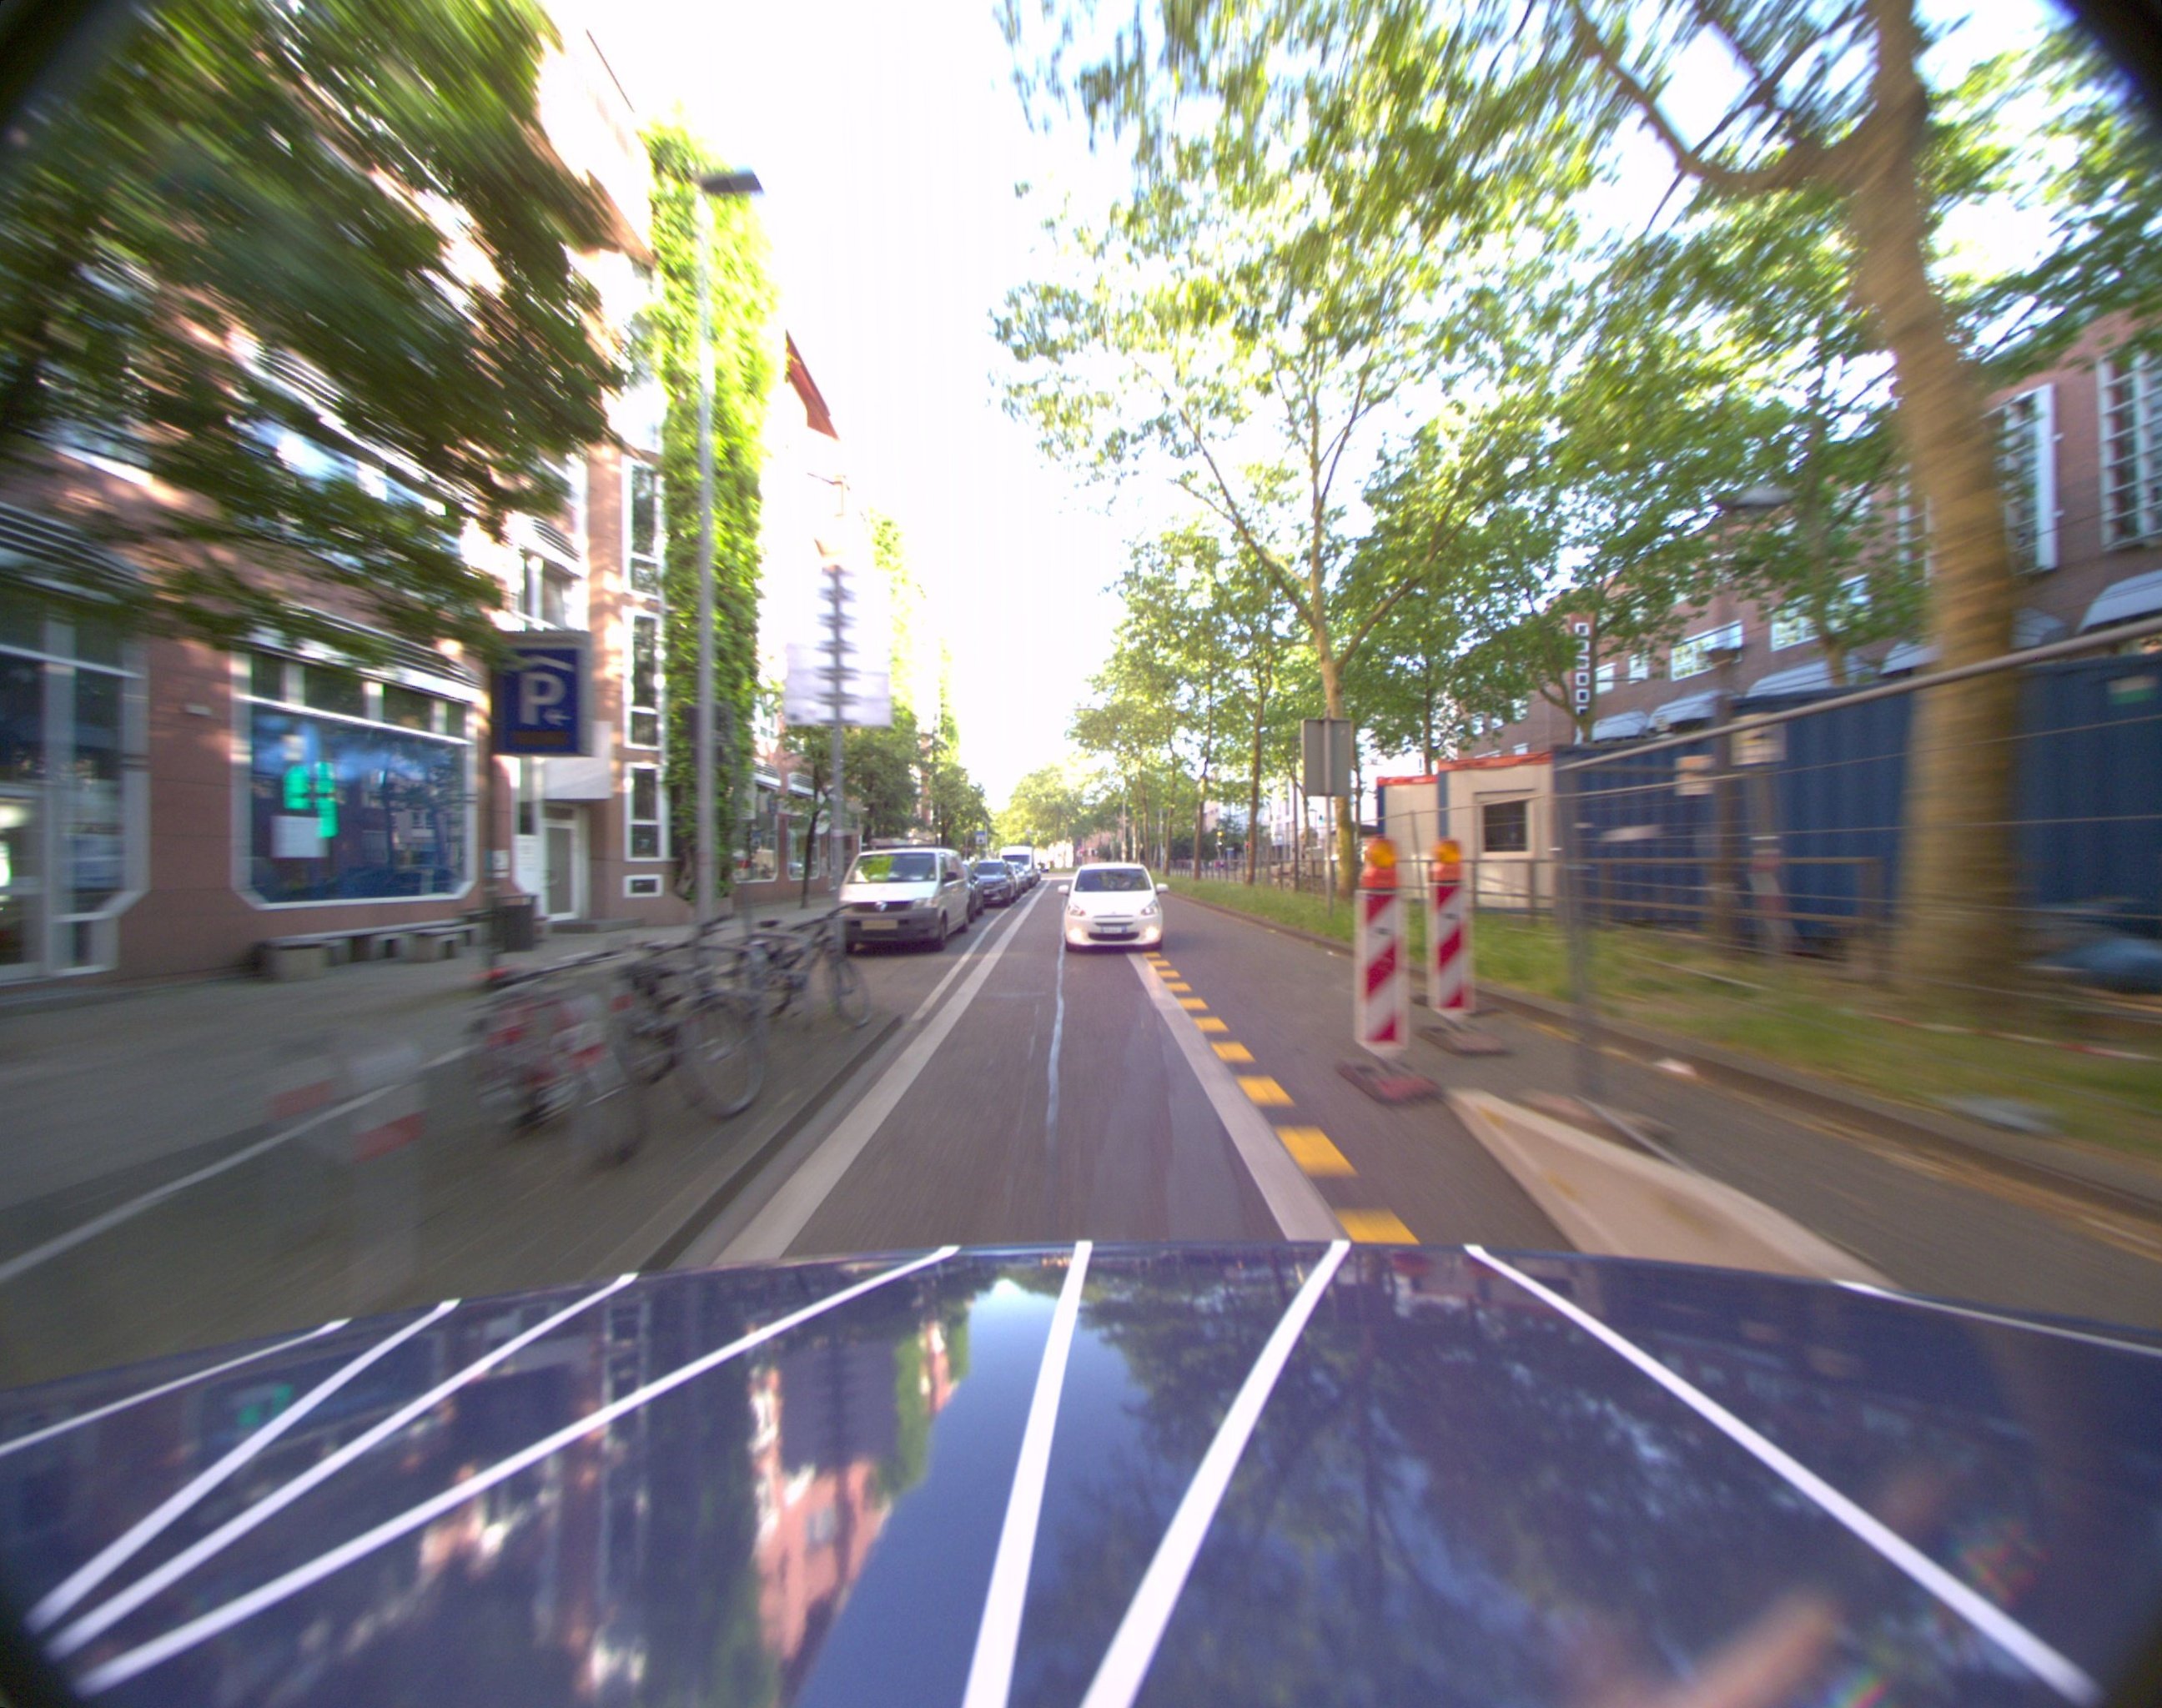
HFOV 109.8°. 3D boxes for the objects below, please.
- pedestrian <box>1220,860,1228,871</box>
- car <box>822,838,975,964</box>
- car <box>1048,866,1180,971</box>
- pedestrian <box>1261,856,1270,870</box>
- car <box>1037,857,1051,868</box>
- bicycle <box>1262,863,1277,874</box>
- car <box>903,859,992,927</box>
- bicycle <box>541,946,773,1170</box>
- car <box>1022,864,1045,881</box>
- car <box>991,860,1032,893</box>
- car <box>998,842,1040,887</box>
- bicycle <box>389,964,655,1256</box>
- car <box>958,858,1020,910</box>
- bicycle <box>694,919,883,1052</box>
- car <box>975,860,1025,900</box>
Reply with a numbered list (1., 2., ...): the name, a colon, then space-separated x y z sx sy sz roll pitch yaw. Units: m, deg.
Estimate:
1. pedestrian: 21.246 1.715 112.737 1.006 1.592 0.876 -2 1 4
2. car: -3.374 0.792 15.145 1.924 2.066 5.169 -1 0 -2
3. car: 0.403 0.984 13.366 1.809 1.492 4.199 -1 0 -5
4. pedestrian: 25.834 1.278 106.623 1.006 2.002 0.876 -2 1 0
5. car: -5.467 1.280 113.462 1.999 1.524 3.999 -2 0 -2
6. bicycle: 23.110 1.755 93.209 0.775 1.254 1.814 -3 1 -32
7. car: -3.549 0.987 20.869 1.792 1.660 4.199 -1 0 -2
8. bicycle: -2.656 1.164 4.695 1.678 1.061 0.502 -1 0 33
9. car: -3.912 1.469 61.781 1.809 1.322 3.990 -1 0 -5
10. car: -3.513 1.089 38.884 1.833 1.569 3.999 -1 0 -2
11. car: -3.628 0.608 45.474 2.120 2.550 5.905 -1 0 -1
12. bicycle: -2.865 1.164 3.837 1.678 1.061 0.502 -1 0 33
13. car: -3.181 1.001 27.020 1.792 1.660 4.439 -1 0 -2
14. bicycle: -2.678 1.155 6.933 1.679 1.061 0.512 -1 0 22
15. car: -3.382 1.063 32.337 1.833 1.569 3.999 -1 0 -2
